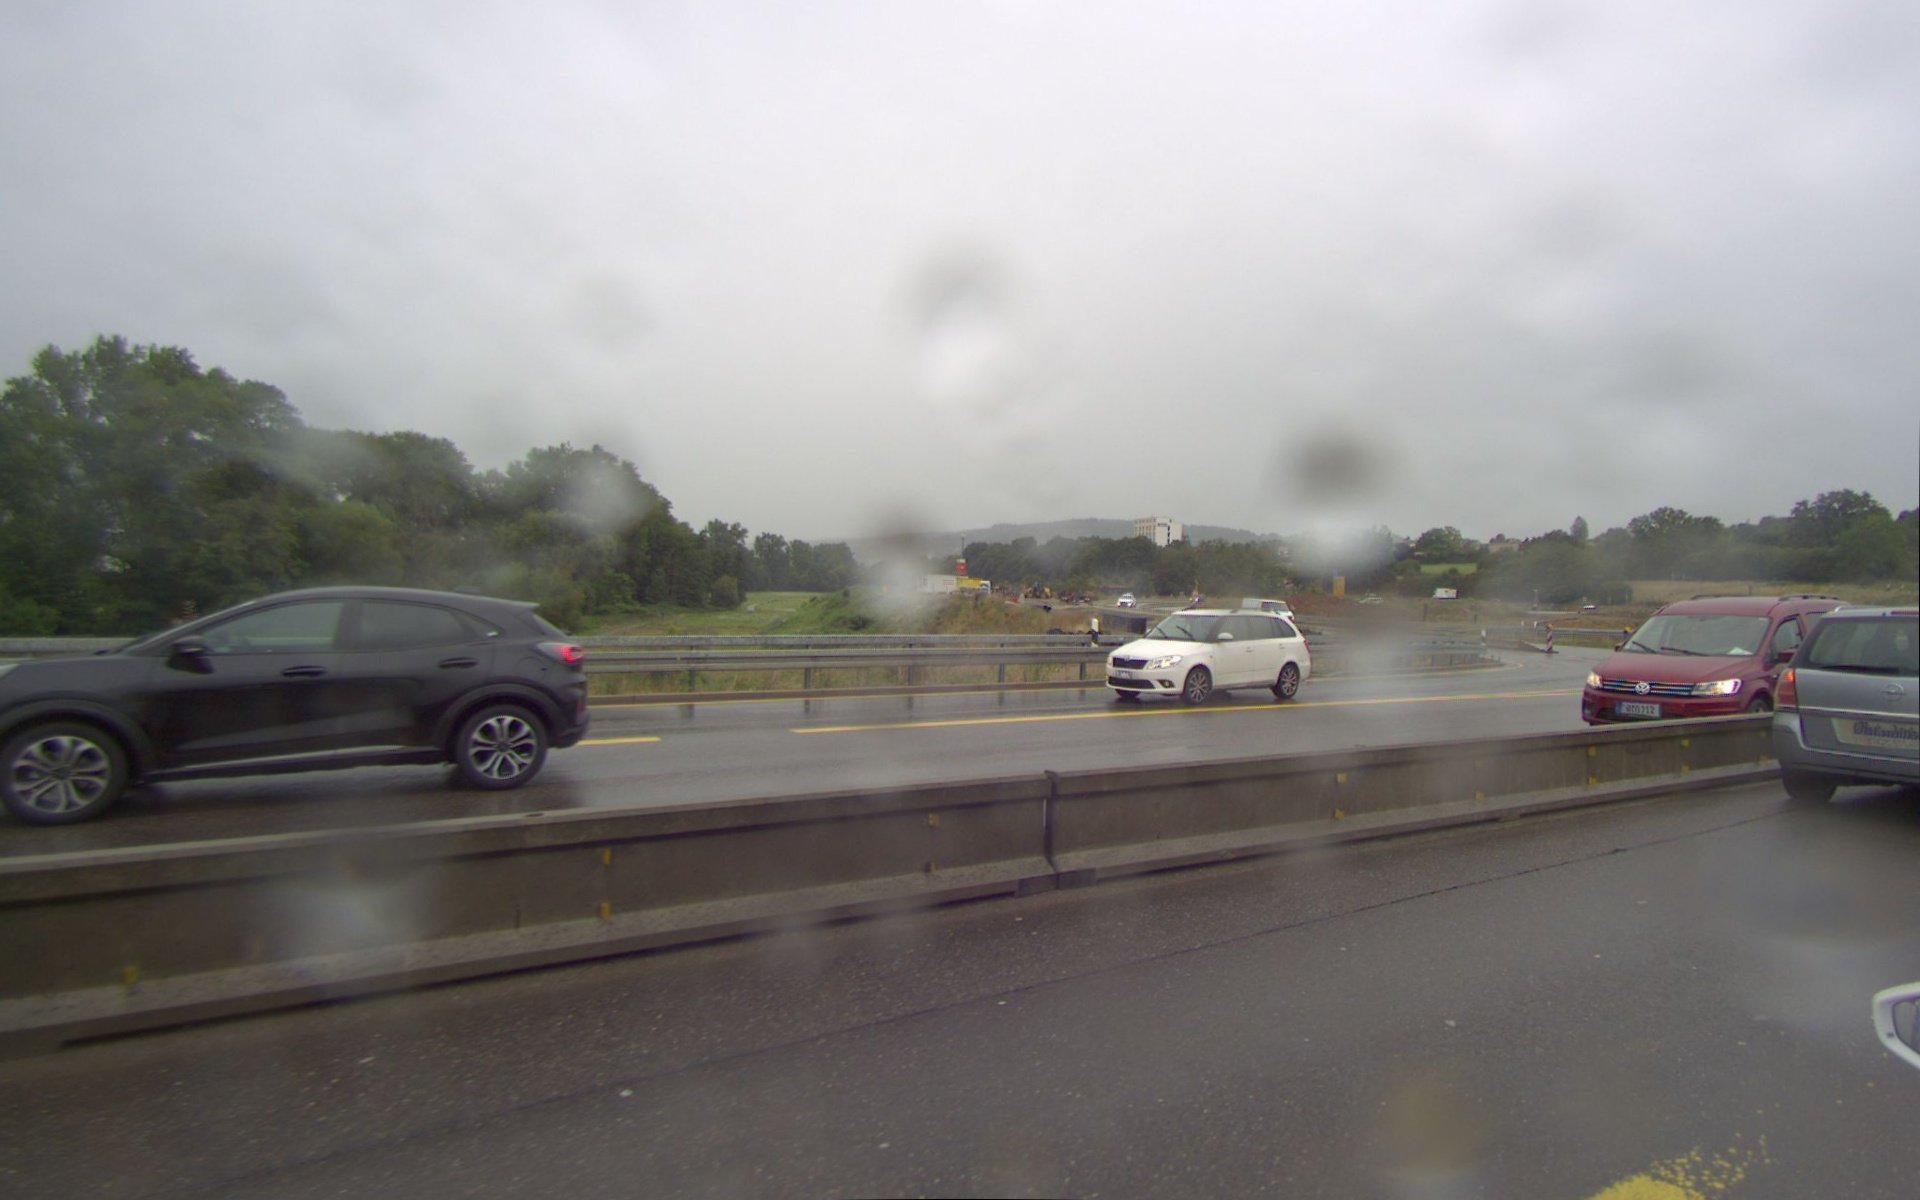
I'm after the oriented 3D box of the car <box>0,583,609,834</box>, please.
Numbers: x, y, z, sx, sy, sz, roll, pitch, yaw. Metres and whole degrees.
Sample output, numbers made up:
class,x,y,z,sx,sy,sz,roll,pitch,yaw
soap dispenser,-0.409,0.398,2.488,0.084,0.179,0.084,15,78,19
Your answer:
class,x,y,z,sx,sy,sz,roll,pitch,yaw
car,-4.927,0.647,7.700,3.955,1.517,1.810,0,1,-32

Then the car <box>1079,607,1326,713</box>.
class,x,y,z,sx,sy,sz,roll,pitch,yaw
car,4.217,0.944,17.185,4.230,1.597,1.833,0,-1,-37

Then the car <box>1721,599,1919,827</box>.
class,x,y,z,sx,sy,sz,roll,pitch,yaw
car,8.550,0.857,8.470,4.092,1.622,1.984,1,0,-30

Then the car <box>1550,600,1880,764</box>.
class,x,y,z,sx,sy,sz,roll,pitch,yaw
car,9.827,0.912,12.964,4.791,1.771,1.835,0,-1,-33

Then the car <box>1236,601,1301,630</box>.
class,x,y,z,sx,sy,sz,roll,pitch,yaw
car,23.663,1.176,77.256,2.237,2.040,5.024,1,0,-19

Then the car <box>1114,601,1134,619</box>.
class,x,y,z,sx,sy,sz,roll,pitch,yaw
car,19.840,1.189,121.088,2.029,2.090,4.846,1,0,13

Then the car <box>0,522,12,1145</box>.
class,x,y,z,sx,sy,sz,roll,pitch,yaw
car,-3.916,0.598,0.806,4.257,1.622,1.807,1,0,-31
